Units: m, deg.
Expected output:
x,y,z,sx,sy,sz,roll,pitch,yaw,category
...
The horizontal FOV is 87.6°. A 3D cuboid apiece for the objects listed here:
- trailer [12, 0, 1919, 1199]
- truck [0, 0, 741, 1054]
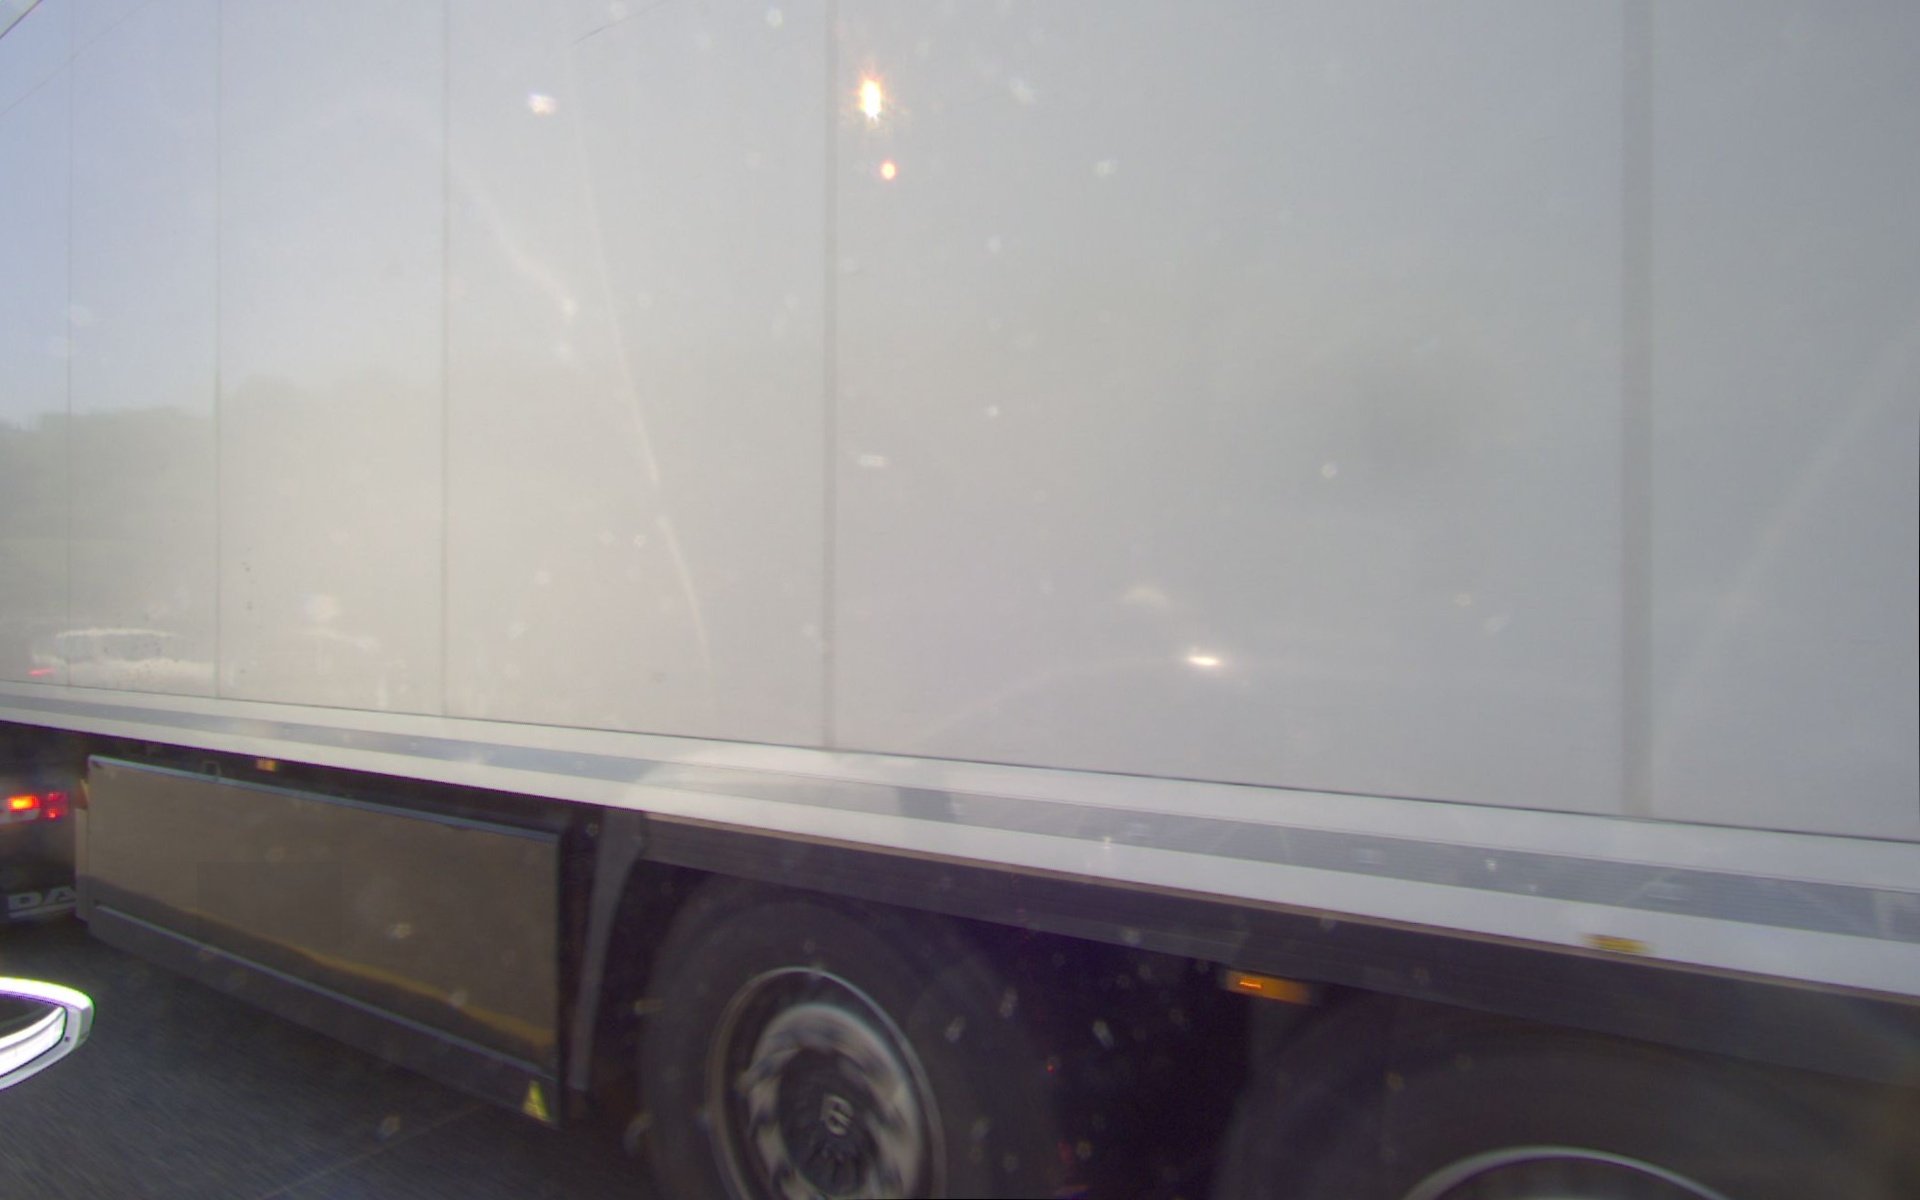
x,y,z,sx,sy,sz,roll,pitch,yaw,category
1.937,-0.573,1.986,11.379,4.179,2.529,-1,-2,31,trailer
-5.277,-0.484,6.392,8.118,4.076,2.510,-1,-2,32,truck
